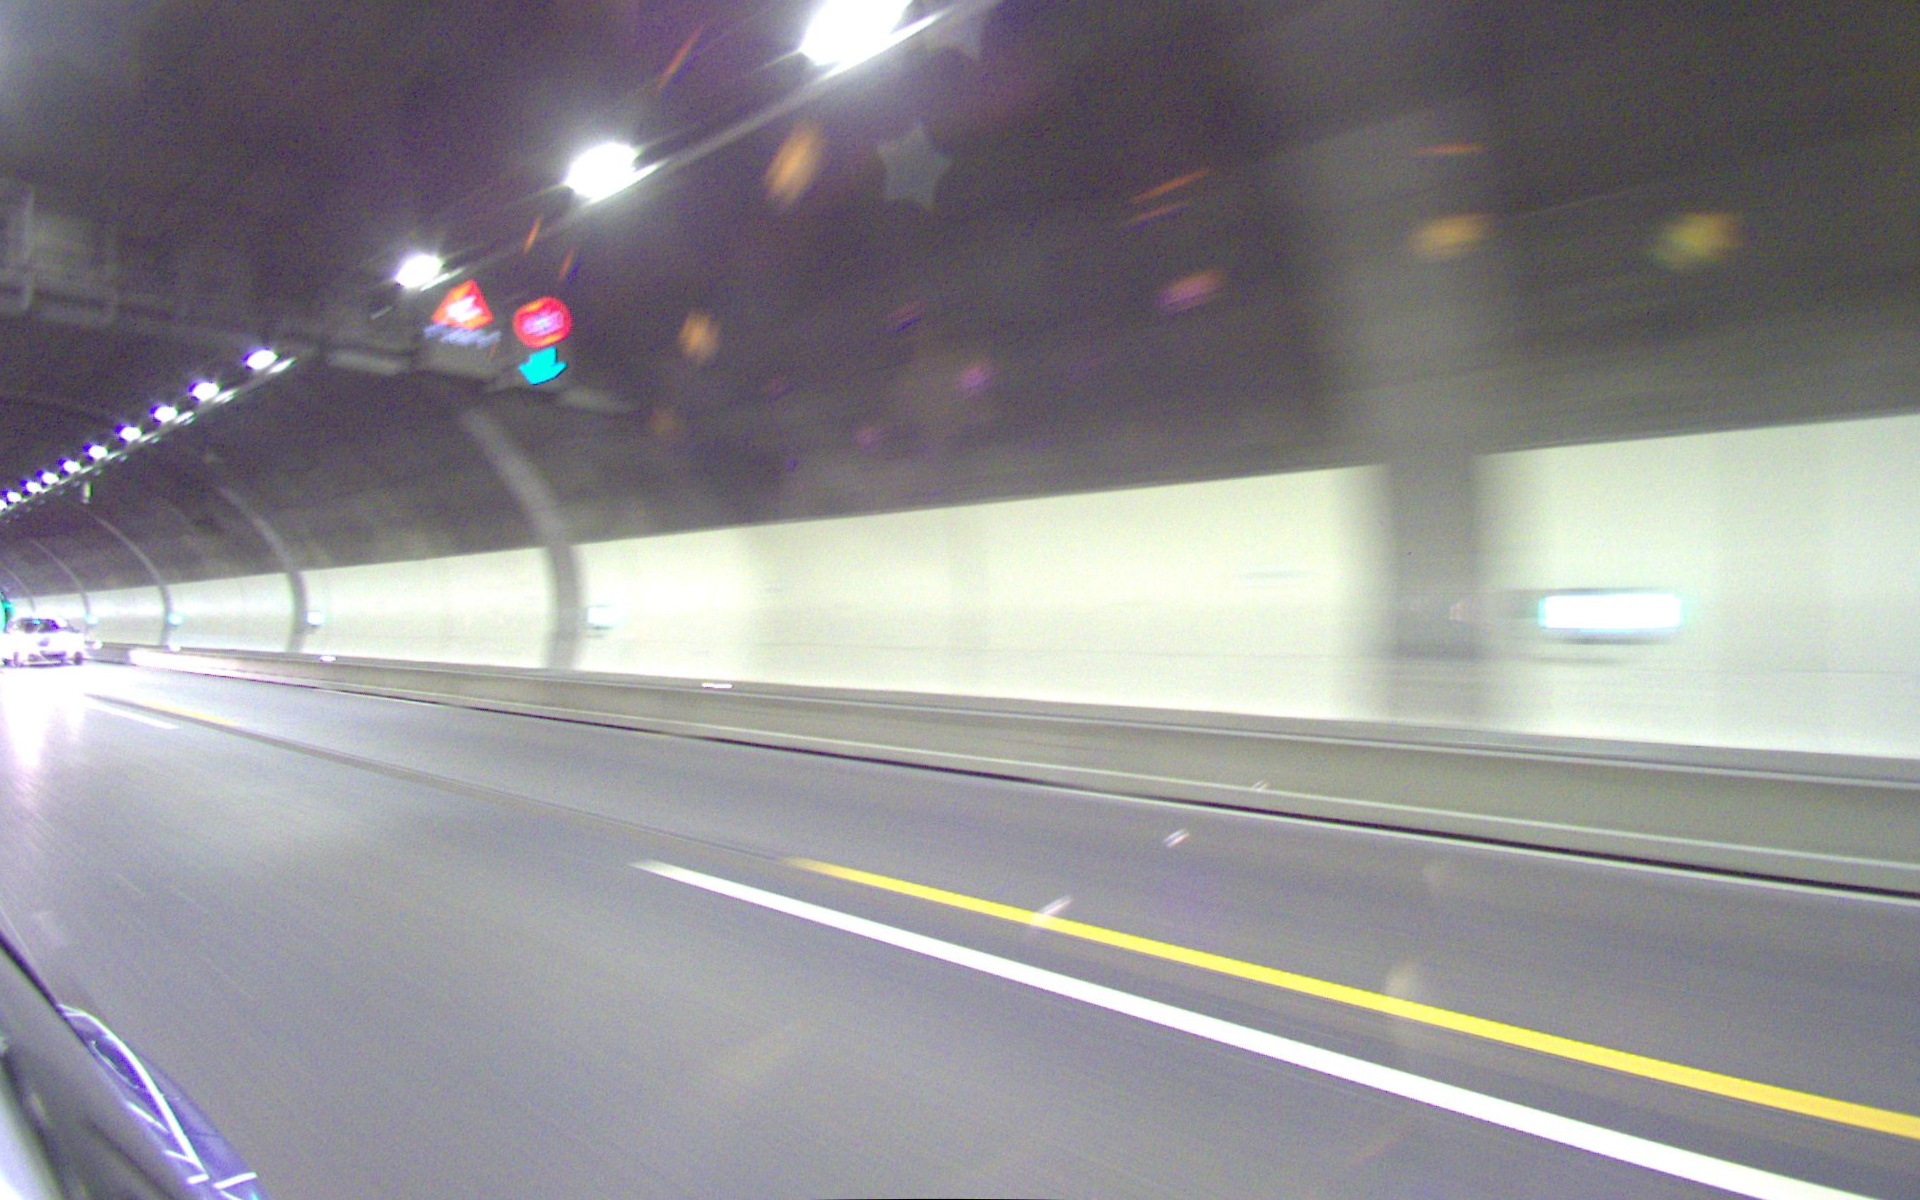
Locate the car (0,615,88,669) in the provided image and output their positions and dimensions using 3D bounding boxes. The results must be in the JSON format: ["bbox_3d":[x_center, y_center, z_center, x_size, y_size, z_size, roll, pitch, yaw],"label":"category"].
[{"bbox_3d":[-29.502,1.288,32.368,4.093,1.584,1.745,-1,0,39],"label":"car"}]
